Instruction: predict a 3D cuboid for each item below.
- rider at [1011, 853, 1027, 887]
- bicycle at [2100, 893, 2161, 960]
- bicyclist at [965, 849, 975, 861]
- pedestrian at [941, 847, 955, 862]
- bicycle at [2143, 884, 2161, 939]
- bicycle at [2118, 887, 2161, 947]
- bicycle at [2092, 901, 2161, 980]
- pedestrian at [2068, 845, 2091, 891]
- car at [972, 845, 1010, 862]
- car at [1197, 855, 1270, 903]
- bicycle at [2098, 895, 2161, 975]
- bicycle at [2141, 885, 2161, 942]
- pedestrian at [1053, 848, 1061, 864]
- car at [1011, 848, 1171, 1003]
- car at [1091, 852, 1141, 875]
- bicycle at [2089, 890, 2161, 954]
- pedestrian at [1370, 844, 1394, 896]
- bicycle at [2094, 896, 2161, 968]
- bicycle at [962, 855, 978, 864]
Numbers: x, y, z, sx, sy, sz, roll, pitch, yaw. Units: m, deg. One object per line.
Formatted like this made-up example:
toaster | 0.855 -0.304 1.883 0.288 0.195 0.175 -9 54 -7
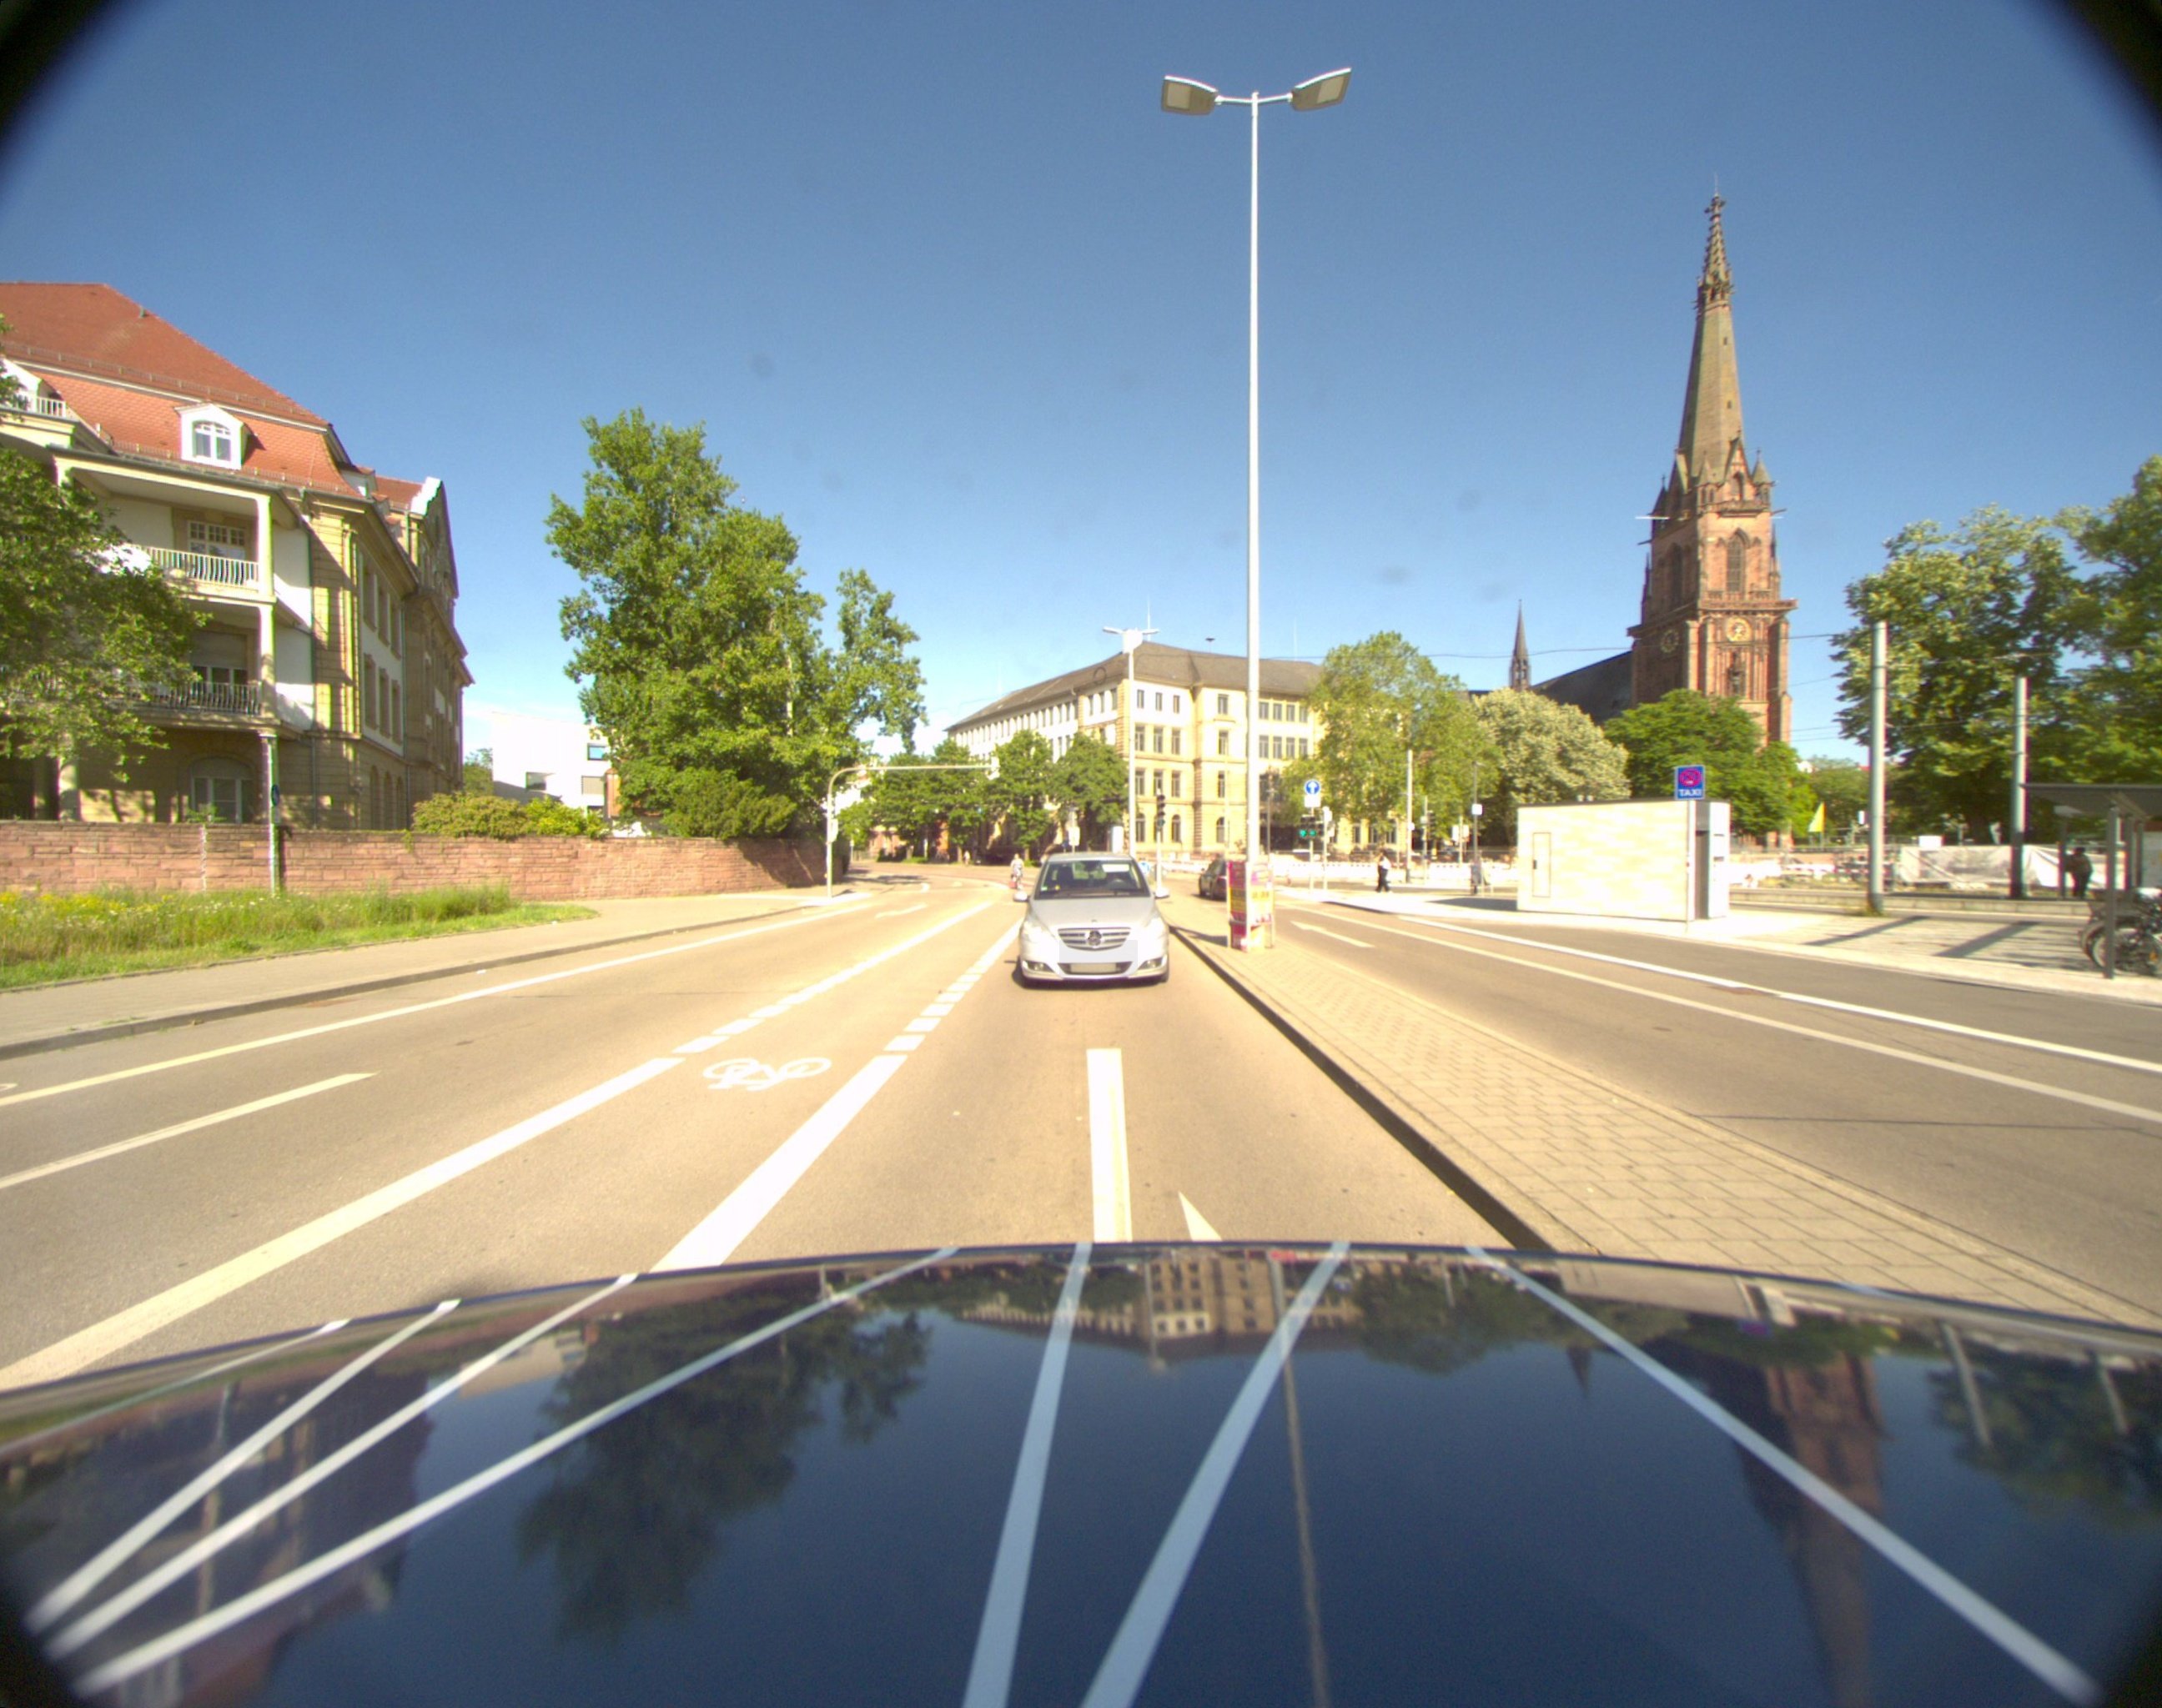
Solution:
rider | -2.973 0.763 36.313 0.658 1.611 0.989 -1 1 1
bicycle | 17.259 1.154 11.662 0.458 1.003 1.899 -1 1 -33
bicyclist | -12.526 0.135 85.623 0.893 1.377 0.735 1 1 44
pedestrian | -16.360 0.032 93.215 0.934 1.812 1.394 1 1 45
bicycle | 20.487 1.070 13.617 0.458 1.003 1.667 -1 1 -33
bicycle | 19.126 1.105 12.955 0.458 1.003 1.667 -1 1 -33
bicycle | 14.698 1.177 9.972 0.458 1.003 1.667 -1 1 -33
pedestrian | 37.571 0.507 28.584 0.404 1.711 0.419 1 1 38
car | -10.725 -0.040 90.769 1.994 2.002 4.721 0 1 32
car | 5.254 0.805 26.714 1.793 1.490 4.575 1 1 2
bicycle | 15.199 1.129 10.287 0.458 1.055 1.667 -1 1 -33
bicycle | 19.893 1.082 13.207 0.458 1.003 1.667 -1 1 -33
pedestrian | -2.600 0.230 83.333 0.677 1.714 0.588 -1 1 -22
car | 0.077 0.766 10.263 1.706 1.657 3.913 -1 1 -1
car | 2.478 0.669 55.107 1.864 1.533 4.231 1 1 -25
bicycle | 17.913 1.133 12.435 0.458 1.003 1.667 -1 1 -33
pedestrian | 10.908 0.565 27.567 0.693 1.844 0.679 0 1 12
bicycle | 16.072 1.155 10.983 0.458 1.003 1.667 -1 1 -33
bicycle | -12.511 0.583 85.620 1.830 0.985 0.735 0 1 44
